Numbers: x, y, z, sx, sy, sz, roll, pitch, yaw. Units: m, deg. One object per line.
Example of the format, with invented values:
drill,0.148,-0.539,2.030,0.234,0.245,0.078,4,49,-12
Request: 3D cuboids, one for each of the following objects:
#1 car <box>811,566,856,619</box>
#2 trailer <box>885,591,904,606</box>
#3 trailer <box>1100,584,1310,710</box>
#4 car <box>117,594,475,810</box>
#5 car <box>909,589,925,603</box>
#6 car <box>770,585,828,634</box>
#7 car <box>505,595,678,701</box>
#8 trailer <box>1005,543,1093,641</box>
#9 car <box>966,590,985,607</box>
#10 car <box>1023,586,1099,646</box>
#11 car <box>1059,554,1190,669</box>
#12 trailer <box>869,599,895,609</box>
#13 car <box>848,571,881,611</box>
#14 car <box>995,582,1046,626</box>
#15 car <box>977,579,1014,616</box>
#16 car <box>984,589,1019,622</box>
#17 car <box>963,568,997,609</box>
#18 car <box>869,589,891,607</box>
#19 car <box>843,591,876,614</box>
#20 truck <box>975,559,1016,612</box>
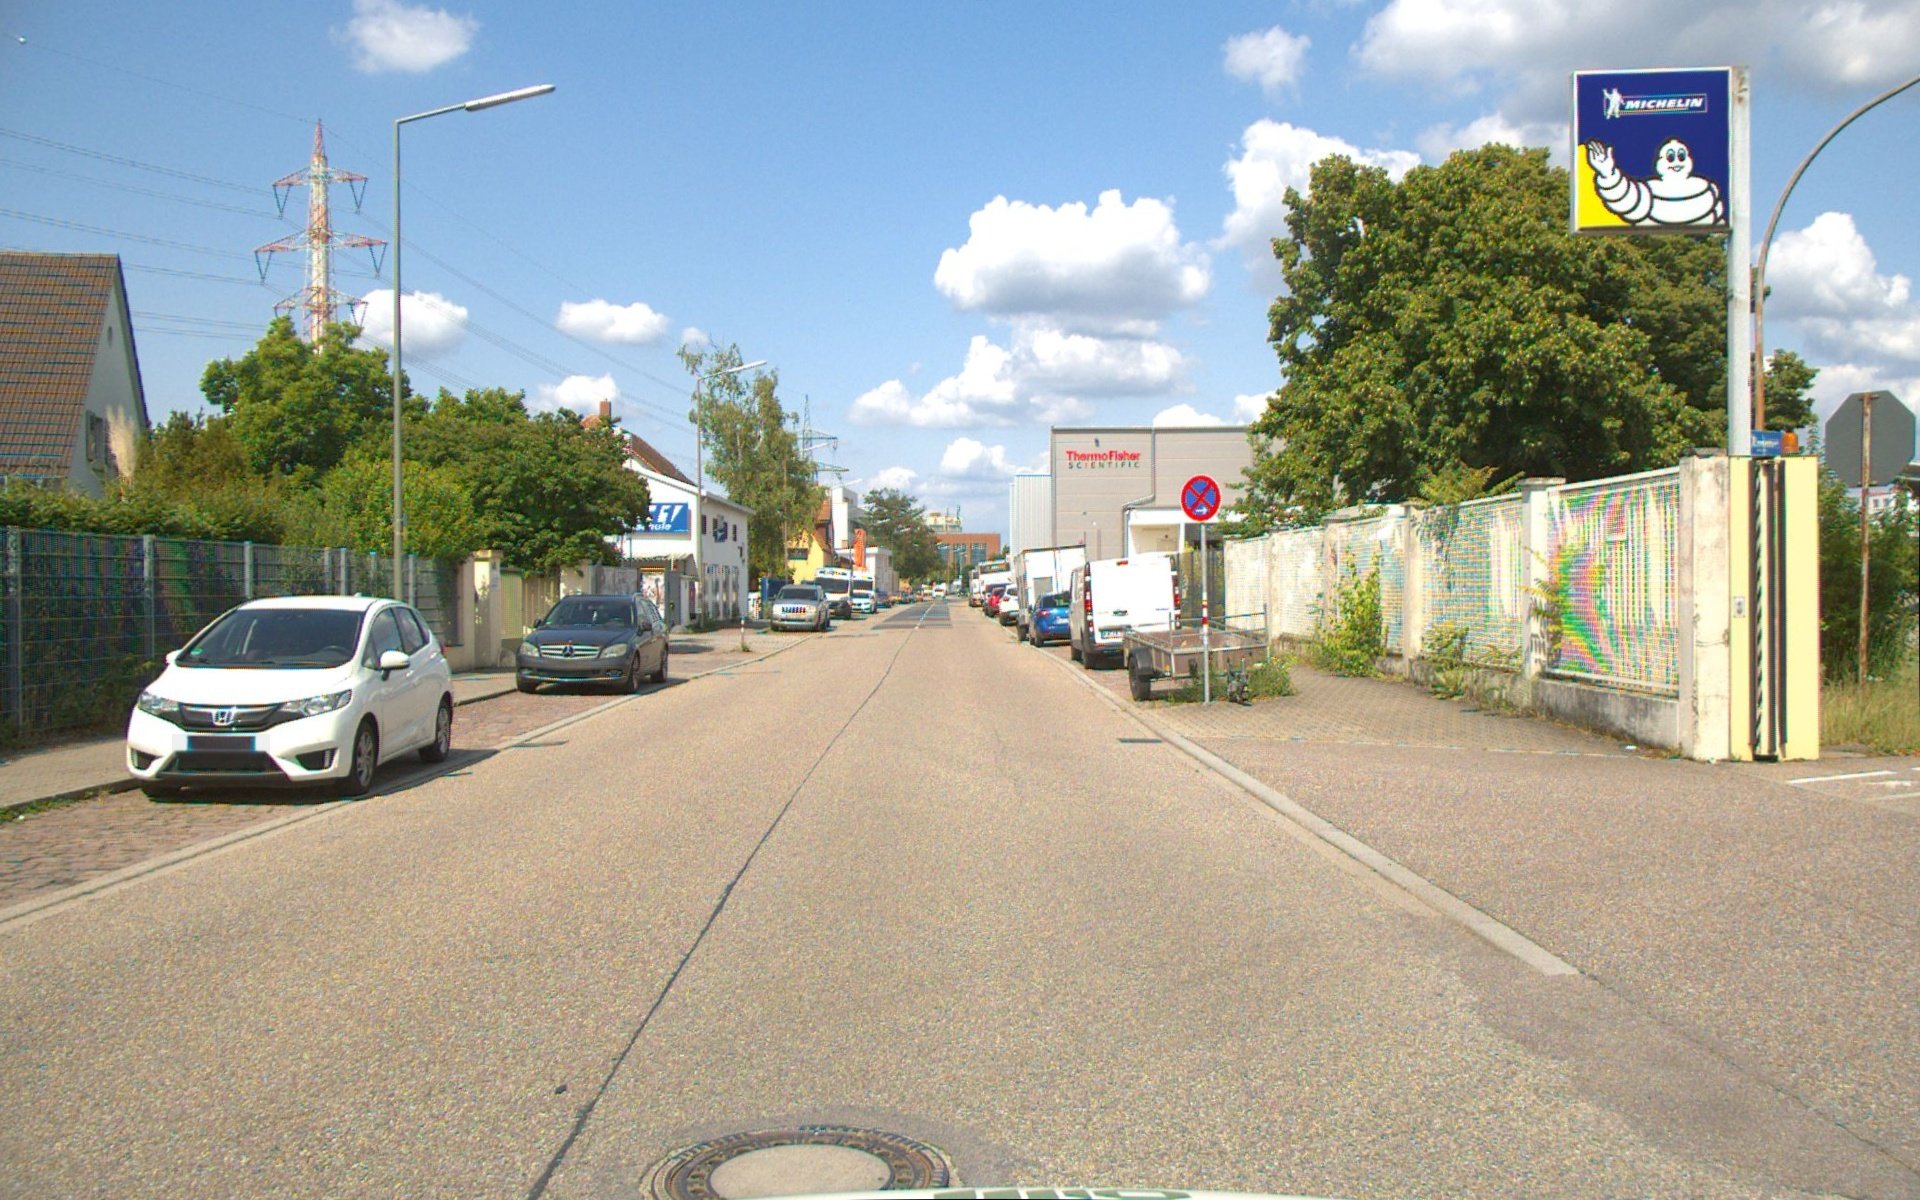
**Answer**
car,-6.527,-0.371,85.702,1.989,2.602,6.654,2,0,-2
trailer,-7.262,-0.154,184.090,1.953,1.584,4.253,0,0,-1
trailer,3.206,0.590,22.579,1.715,1.442,4.544,-3,0,-6
car,-5.434,0.733,14.115,1.588,1.549,4.173,0,0,-3
car,-5.746,-0.493,223.144,1.882,1.825,4.001,1,0,2
car,-6.085,0.352,62.965,1.754,1.749,4.751,2,0,-1
car,-5.616,0.671,25.718,1.769,1.443,4.495,2,0,-2
trailer,2.716,-0.216,52.063,2.160,2.784,6.220,-3,0,-1
car,1.482,-0.123,158.134,1.732,1.640,3.873,0,0,1
car,2.713,0.440,45.310,1.656,1.486,4.069,-3,0,-2
car,3.169,0.207,32.969,1.953,2.049,5.649,-1,0,-1
trailer,-7.656,0.397,163.059,2.314,0.908,5.568,2,0,-1
car,-6.487,-0.575,112.765,1.986,2.606,6.837,1,0,-1
car,2.539,0.151,70.474,1.896,1.723,4.679,-3,0,-1
car,2.051,-0.150,97.012,2.012,1.936,5.147,-4,0,1
car,2.231,0.277,89.887,1.669,1.652,4.091,-3,0,-1
car,1.701,-0.971,145.560,2.341,3.421,6.640,-4,0,-3
car,-6.957,-0.139,144.302,1.726,1.473,4.740,2,0,0
car,-6.396,0.149,105.451,1.759,1.422,4.502,1,0,1
truck,2.437,-0.961,114.528,2.409,3.350,6.817,-5,0,0
